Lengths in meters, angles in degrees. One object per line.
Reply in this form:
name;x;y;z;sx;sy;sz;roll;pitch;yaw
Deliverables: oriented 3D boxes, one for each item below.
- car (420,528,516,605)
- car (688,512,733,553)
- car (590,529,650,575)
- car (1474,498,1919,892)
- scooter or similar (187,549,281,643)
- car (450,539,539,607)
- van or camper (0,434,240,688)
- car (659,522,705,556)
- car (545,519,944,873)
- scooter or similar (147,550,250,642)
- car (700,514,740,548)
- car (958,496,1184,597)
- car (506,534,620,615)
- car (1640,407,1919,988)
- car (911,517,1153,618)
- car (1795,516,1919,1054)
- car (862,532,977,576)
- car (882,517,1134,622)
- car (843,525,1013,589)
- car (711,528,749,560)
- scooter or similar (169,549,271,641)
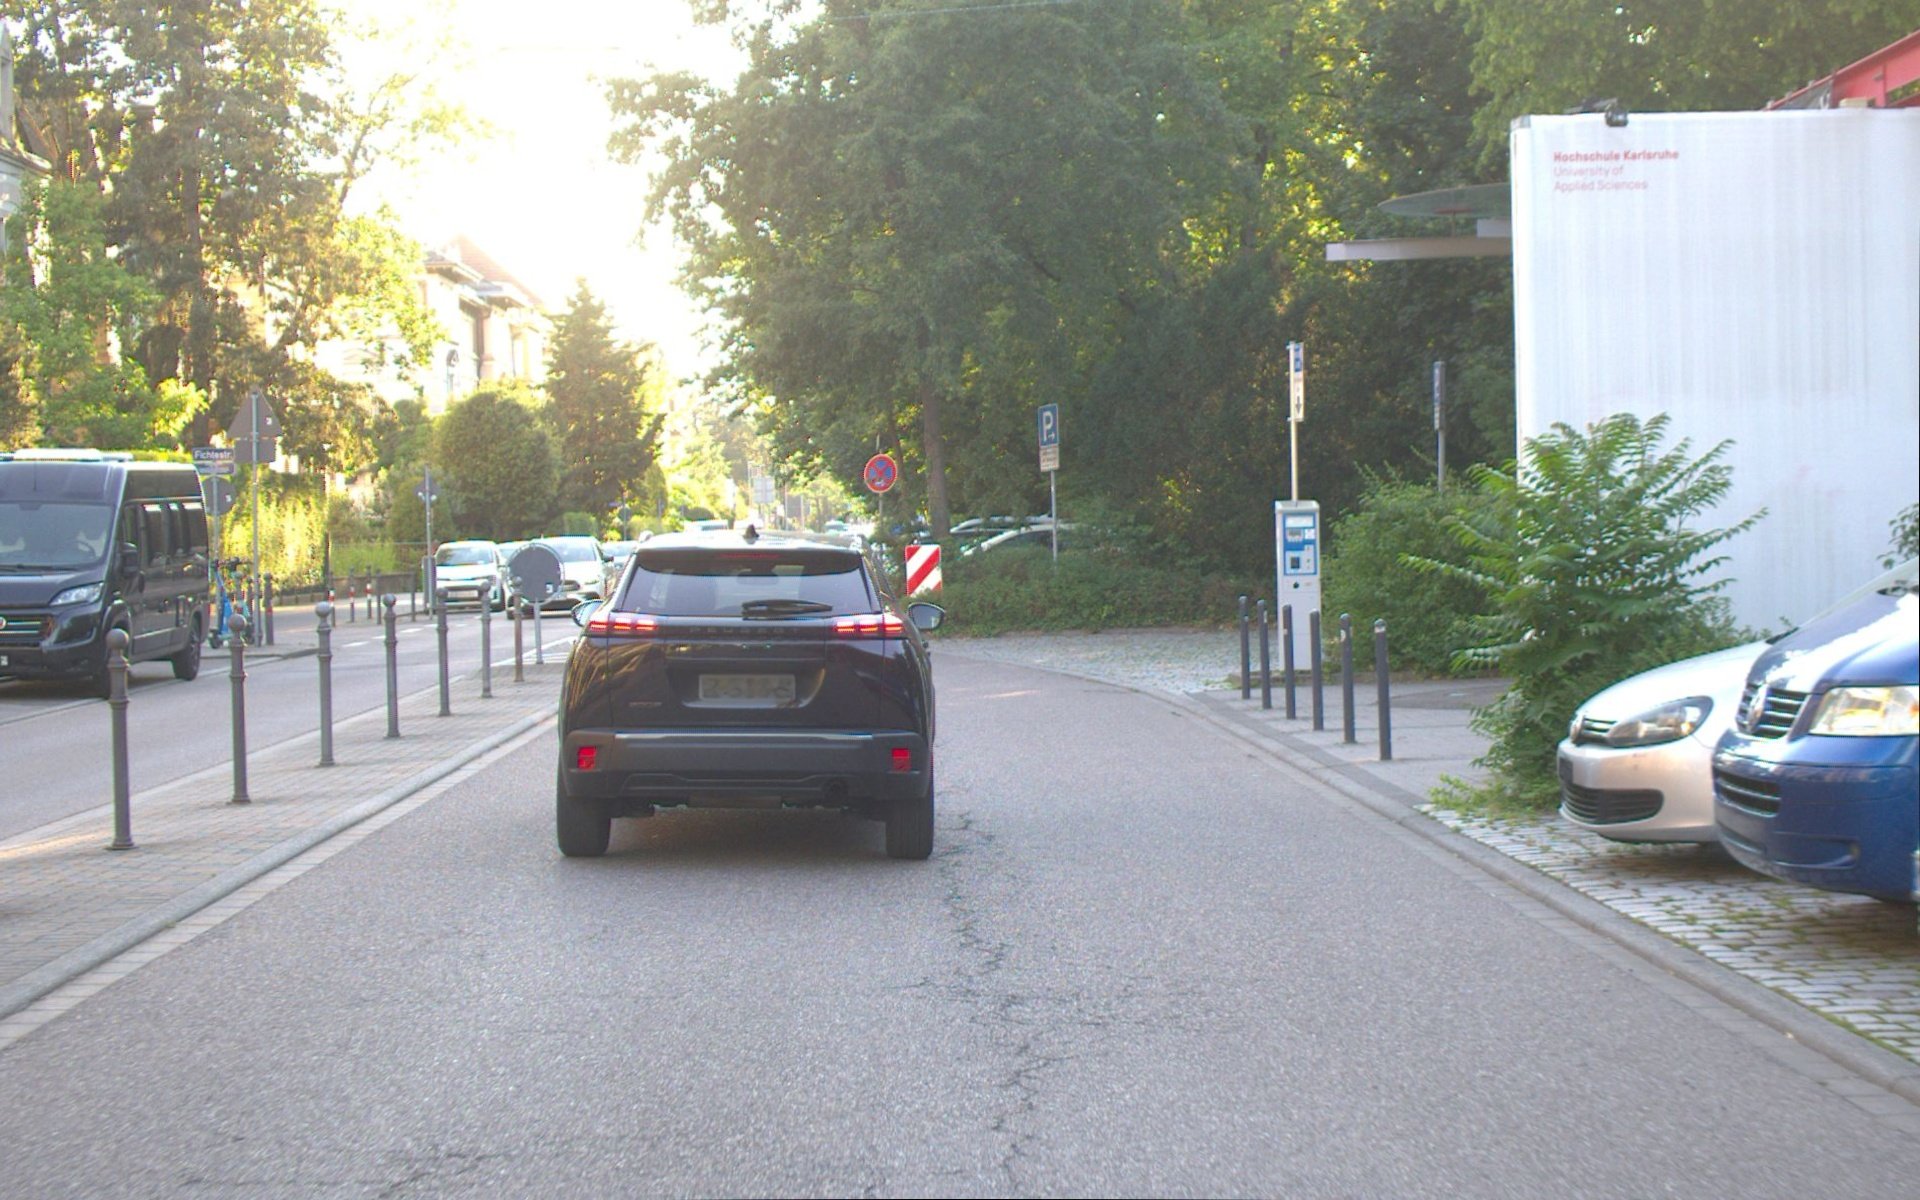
car;-10.442;-0.723;73.170;1.613;1.510;3.712;-3;1;-3
car;-12.456;-3.363;171.879;1.993;2.007;4.000;-1;1;0
car;-11.449;-1.638;115.968;1.752;1.409;3.765;-3;2;-3
car;4.956;0.289;15.338;4.926;1.548;1.916;-3;1;-2
scooter or similar;-10.144;-0.062;48.041;0.431;1.270;1.341;0;1;34
car;-10.654;-0.647;78.921;1.613;1.480;3.742;-2;1;-2
van or camper;-9.692;-0.451;37.931;2.229;2.535;7.081;0;1;-2
car;-12.977;-2.846;160.617;1.899;1.568;4.000;-1;1;-2
car;-1.003;0.381;17.375;1.771;1.563;4.109;0;2;-1
scooter or similar;-10.714;-0.060;48.399;1.340;1.270;0.432;-2;1;-36
car;-12.829;-3.663;183.745;1.993;1.762;4.000;-1;1;-2
car;2.185;-1.072;68.569;4.306;1.798;2.036;-2;1;-2
car;-7.537;-0.504;65.639;1.741;1.453;4.624;-2;1;-2
car;5.137;0.185;12.453;4.852;1.909;1.916;-3;1;-2
car;1.189;-0.565;58.103;3.987;1.549;1.726;-2;2;-1
car;5.205;0.410;10.139;4.926;1.548;1.916;-3;1;-2
car;-1.465;-1.652;123.469;3.986;1.520;1.758;-1;1;-6
car;0.750;-0.508;55.775;3.987;1.549;1.726;-2;2;-1
car;-0.853;-1.114;88.889;4.242;1.444;2.022;-3;1;-3
car;-13.346;-3.253;199.527;1.993;1.809;4.000;-1;1;-2
scooter or similar;-10.568;-0.076;49.089;1.340;1.270;0.432;-2;1;-36
